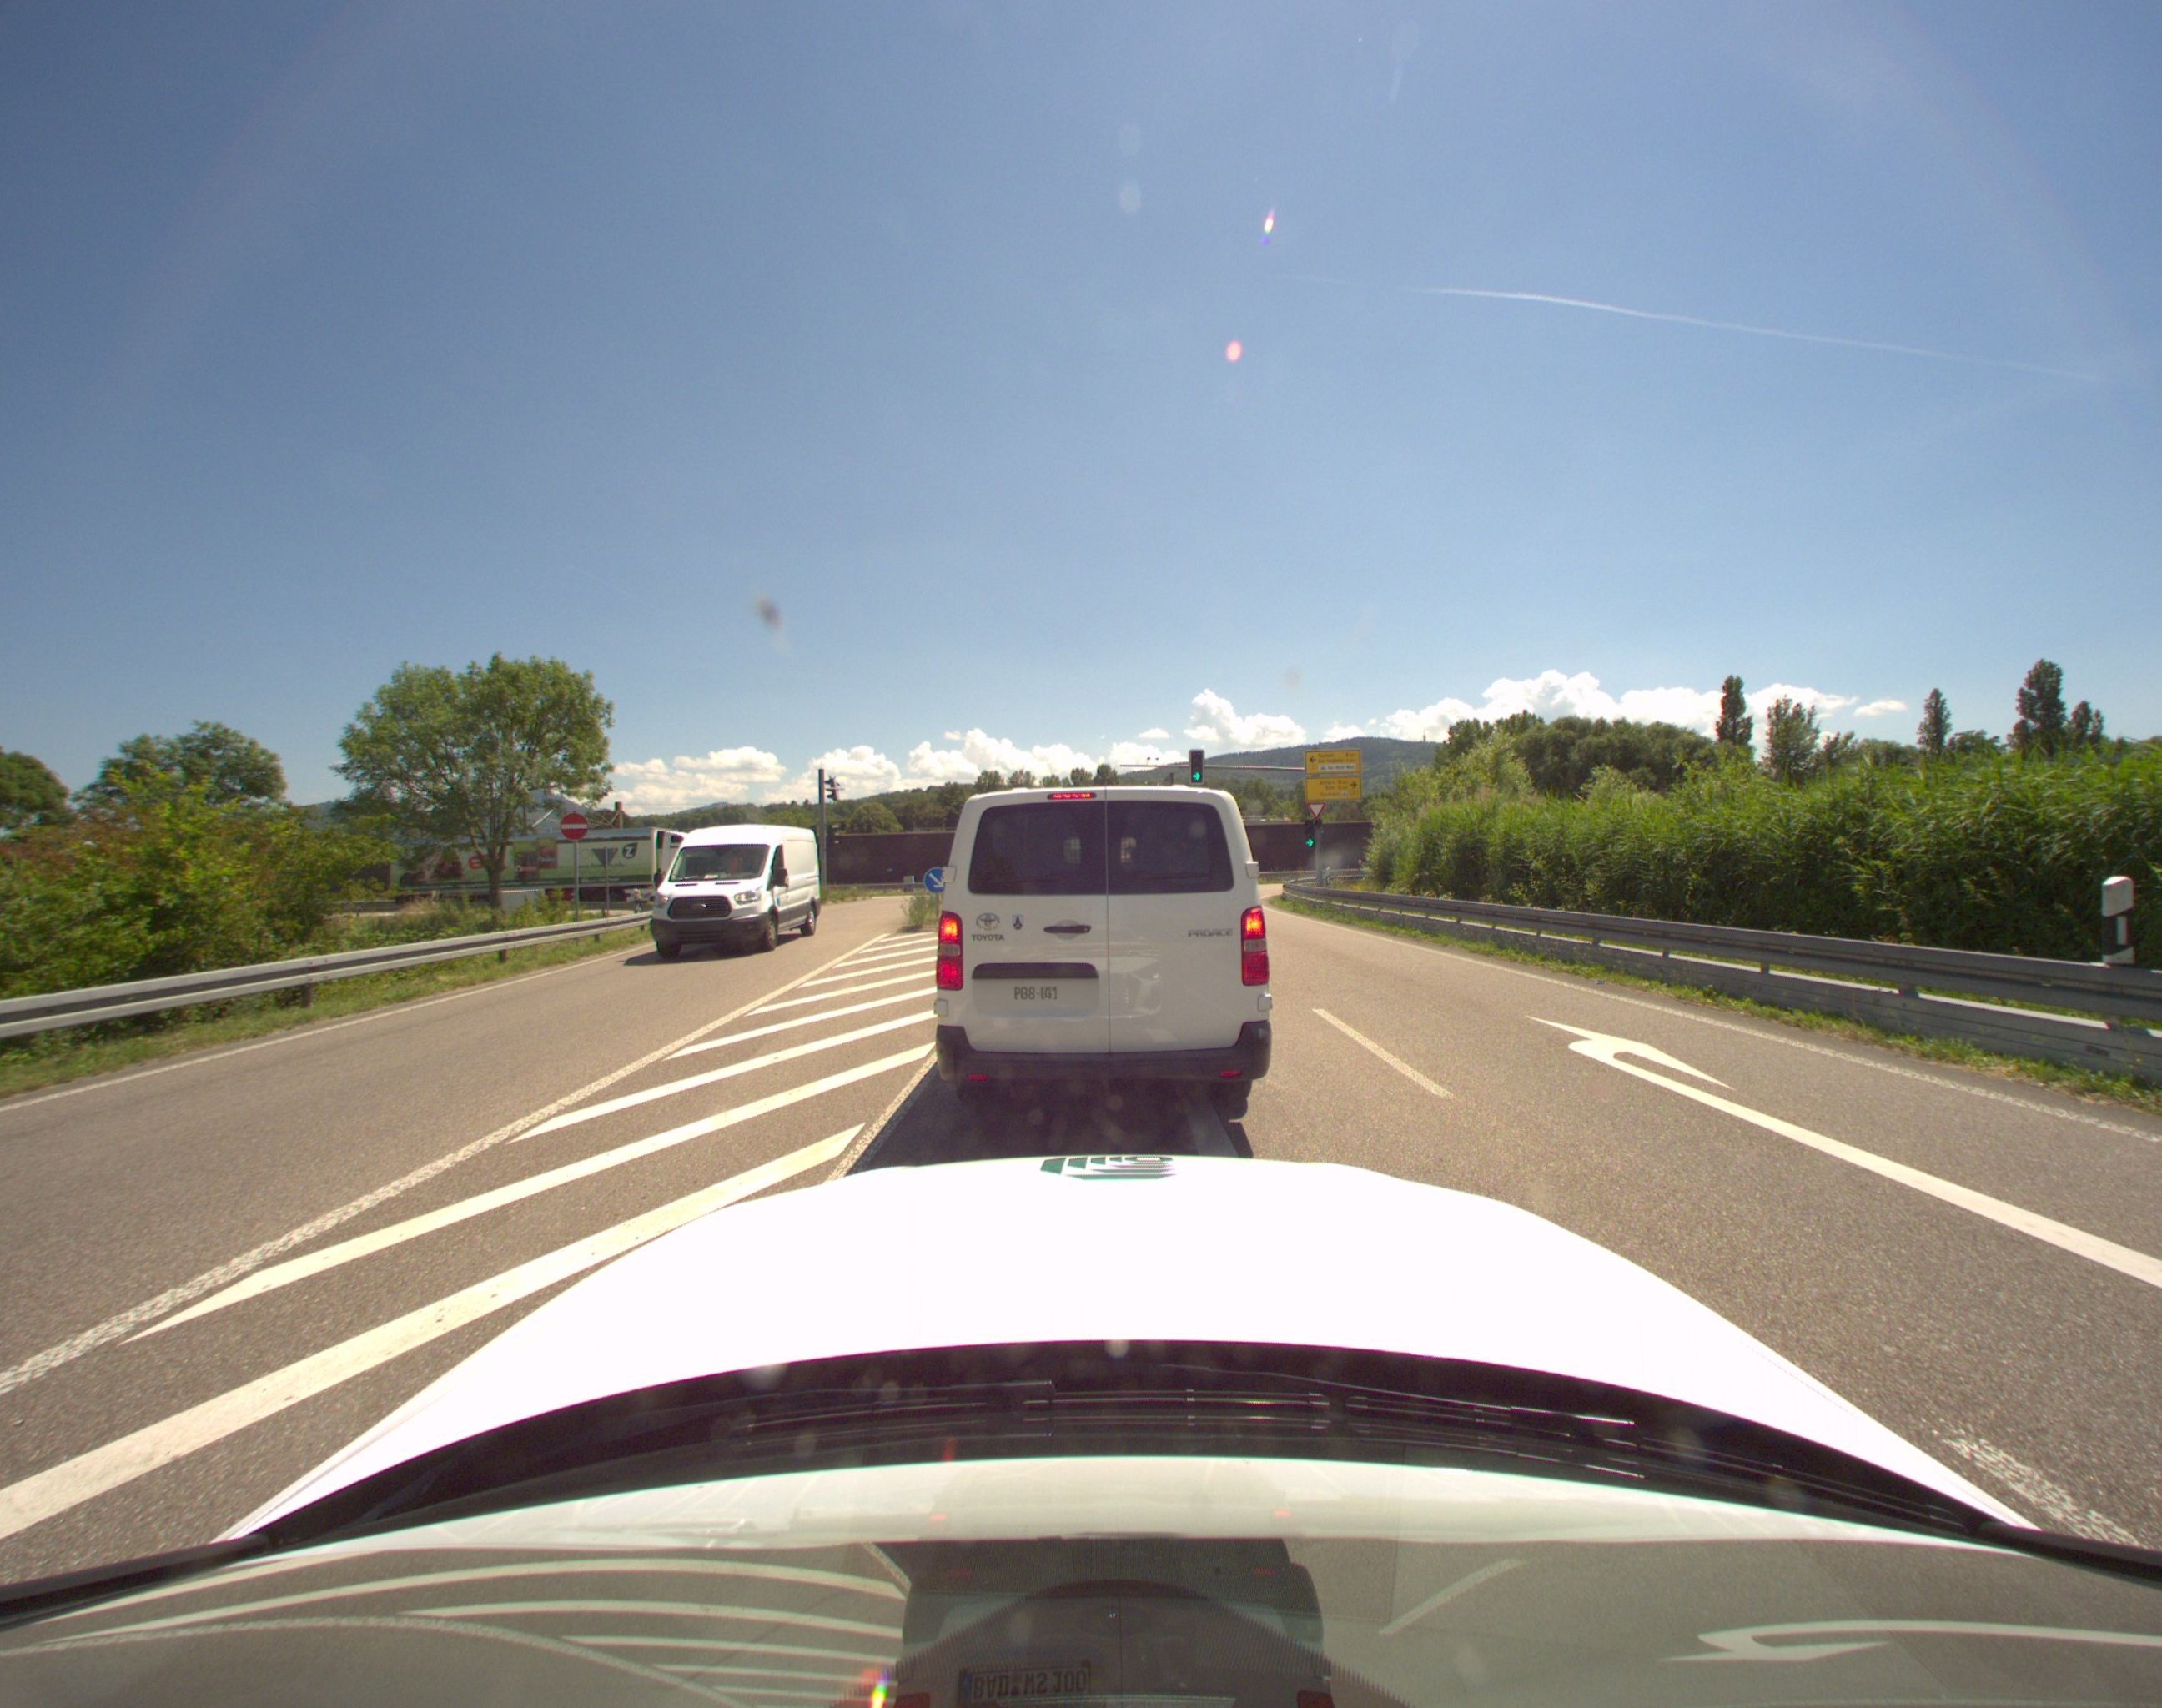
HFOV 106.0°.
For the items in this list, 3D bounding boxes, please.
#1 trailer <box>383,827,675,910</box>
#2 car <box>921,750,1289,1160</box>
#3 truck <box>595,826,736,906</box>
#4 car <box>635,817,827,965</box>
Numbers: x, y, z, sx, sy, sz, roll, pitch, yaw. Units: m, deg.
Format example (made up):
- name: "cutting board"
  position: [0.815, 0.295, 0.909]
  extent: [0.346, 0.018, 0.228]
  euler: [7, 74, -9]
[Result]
- name: "trailer"
  position: [-28.691, 0.754, 42.731]
  extent: [13.098, 3.954, 3.061]
  euler: [-1, -1, 0]
- name: "car"
  position: [0.176, 0.523, 6.082]
  extent: [1.808, 2.017, 4.001]
  euler: [-1, -1, 2]
- name: "truck"
  position: [-21.716, 0.622, 42.782]
  extent: [5.746, 3.954, 3.062]
  euler: [-1, -1, 0]
- name: "car"
  position: [-6.822, 0.645, 16.665]
  extent: [1.992, 2.416, 5.576]
  euler: [-3, 0, -7]
